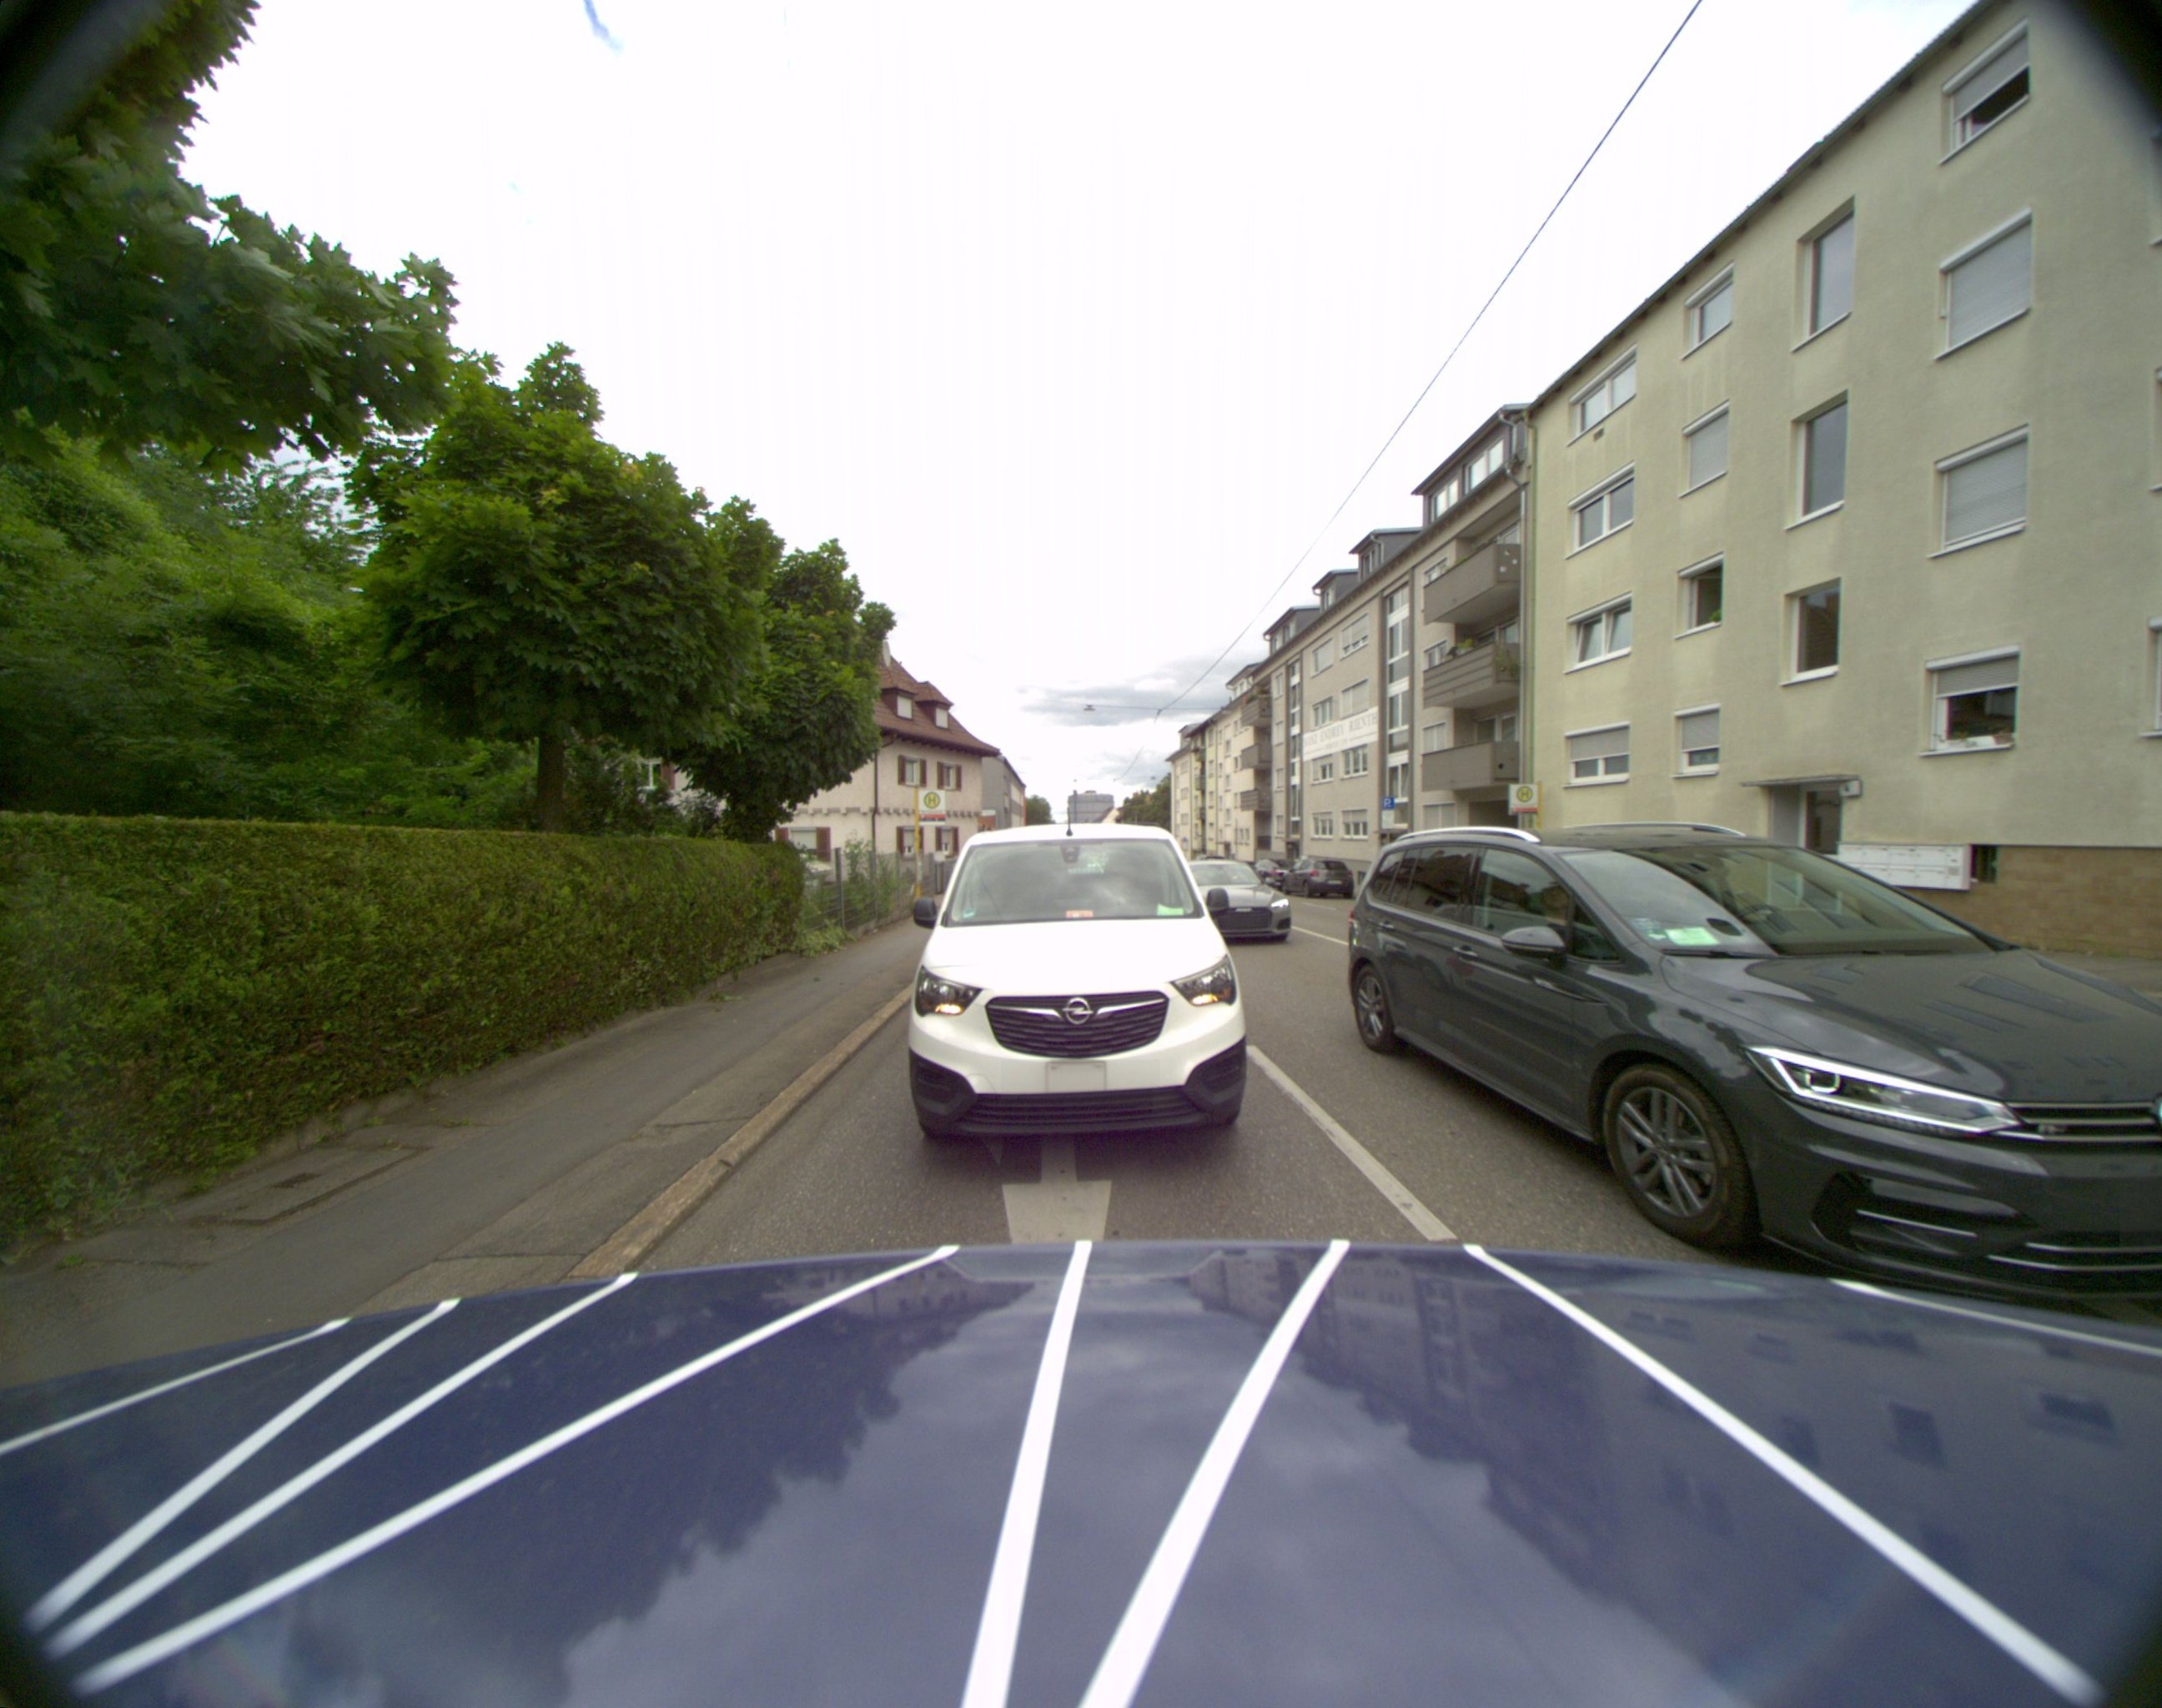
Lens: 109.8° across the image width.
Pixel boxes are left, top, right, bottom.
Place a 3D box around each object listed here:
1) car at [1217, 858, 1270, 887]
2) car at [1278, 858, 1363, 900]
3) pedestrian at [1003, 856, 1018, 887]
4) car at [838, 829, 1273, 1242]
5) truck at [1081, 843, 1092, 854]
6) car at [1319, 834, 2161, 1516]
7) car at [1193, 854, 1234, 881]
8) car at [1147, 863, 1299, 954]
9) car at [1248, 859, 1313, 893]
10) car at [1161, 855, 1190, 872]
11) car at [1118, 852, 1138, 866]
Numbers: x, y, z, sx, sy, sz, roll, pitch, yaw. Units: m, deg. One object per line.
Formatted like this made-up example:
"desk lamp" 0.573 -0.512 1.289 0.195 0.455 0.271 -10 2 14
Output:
"car" 8.394 0.912 39.538 1.776 1.395 3.538 0 1 -5
"car" 8.905 0.882 28.560 1.776 1.403 3.685 0 1 -5
"pedestrian" -4.276 1.053 46.116 0.646 1.830 0.593 -1 1 15
"car" -0.078 0.785 5.723 1.862 1.772 4.711 -2 1 1
"truck" 1.290 -1.348 190.770 2.547 2.522 5.493 -1 0 -2
"car" 3.007 0.751 4.104 1.863 1.601 4.478 -2 1 -2
"car" 8.439 0.837 48.671 1.776 1.591 3.538 0 1 -5
"car" 2.437 0.886 14.117 1.882 1.347 4.145 -1 0 -2
"car" 8.733 0.917 33.509 1.669 1.368 3.538 0 1 -5
"car" 8.126 0.824 65.594 1.776 1.395 3.757 0 1 -5
"car" 5.276 0.588 85.643 1.775 1.513 4.082 0 1 -2
